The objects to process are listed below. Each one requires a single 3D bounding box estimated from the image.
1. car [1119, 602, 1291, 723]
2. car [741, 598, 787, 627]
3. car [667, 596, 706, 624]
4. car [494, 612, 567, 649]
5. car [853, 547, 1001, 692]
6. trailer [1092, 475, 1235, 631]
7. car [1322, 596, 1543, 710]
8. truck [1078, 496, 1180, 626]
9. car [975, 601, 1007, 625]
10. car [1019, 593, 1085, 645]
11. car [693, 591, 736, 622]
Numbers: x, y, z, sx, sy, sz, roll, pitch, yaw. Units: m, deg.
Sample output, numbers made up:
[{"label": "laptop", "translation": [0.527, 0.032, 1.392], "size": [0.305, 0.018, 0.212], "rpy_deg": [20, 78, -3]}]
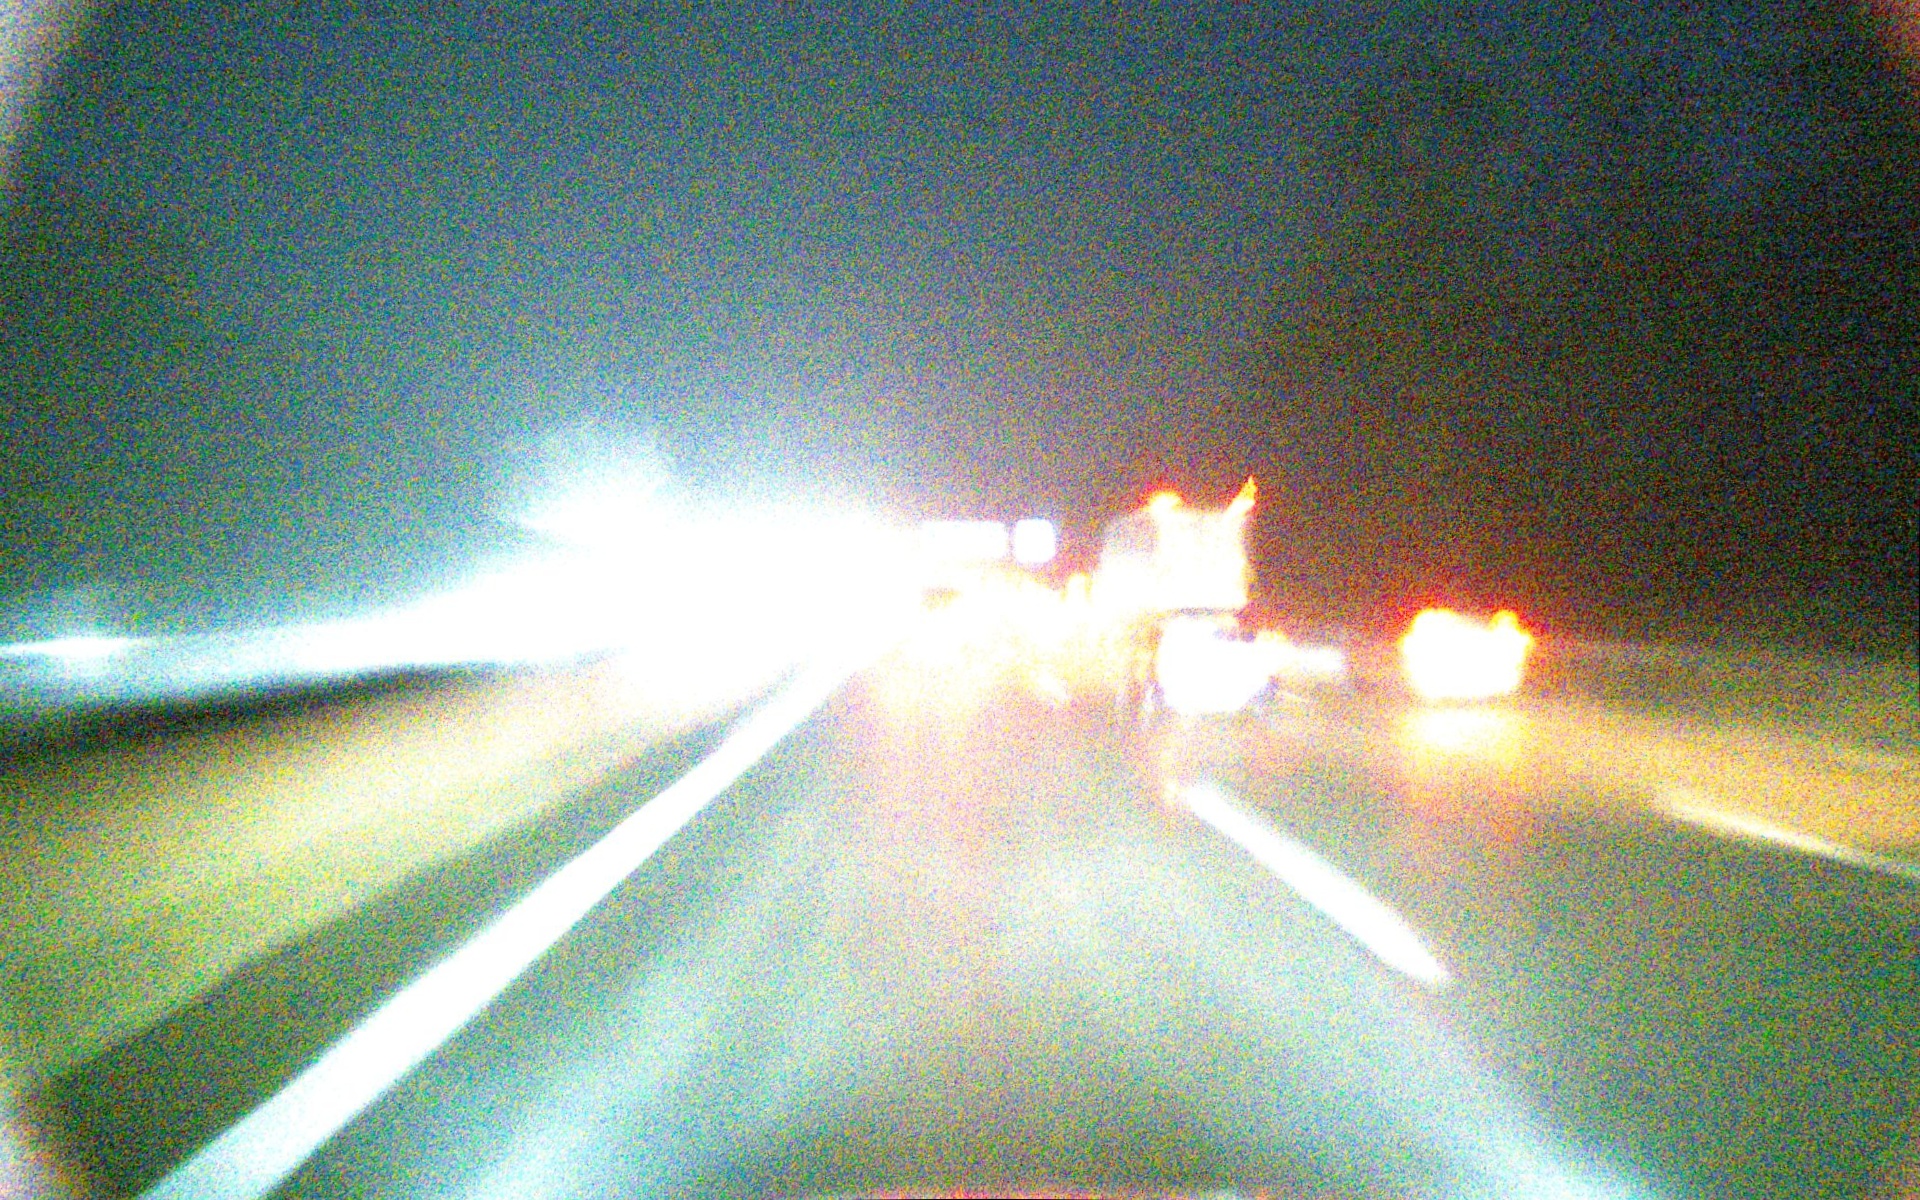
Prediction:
[{"label": "car", "translation": [3.146, 0.762, 21.883], "size": [1.580, 1.437, 3.790], "rpy_deg": [1, 0, -2]}, {"label": "car", "translation": [-9.742, 0.610, 82.400], "size": [1.923, 1.368, 4.287], "rpy_deg": [0, 1, -2]}, {"label": "car", "translation": [-17.185, 0.604, 104.060], "size": [1.834, 1.645, 4.500], "rpy_deg": [-2, 1, -2]}, {"label": "car", "translation": [-17.130, 1.196, 66.150], "size": [1.923, 1.368, 4.287], "rpy_deg": [0, 1, -2]}, {"label": "car", "translation": [-0.724, 0.327, 33.468], "size": [2.655, 2.578, 5.828], "rpy_deg": [-2, 1, -2]}, {"label": "trailer", "translation": [6.112, -1.312, 51.846], "size": [2.747, 4.286, 12.094], "rpy_deg": [1, 0, -1]}, {"label": "car", "translation": [7.200, 0.743, 25.769], "size": [1.856, 1.512, 4.960], "rpy_deg": [1, 1, -2]}, {"label": "truck", "translation": [5.947, -1.311, 59.314], "size": [2.747, 4.341, 7.446], "rpy_deg": [1, 0, -1]}, {"label": "car", "translation": [2.135, 0.889, 114.491], "size": [2.093, 1.646, 4.000], "rpy_deg": [1, 0, 0]}, {"label": "car", "translation": [2.980, 0.602, 54.407], "size": [1.846, 1.616, 3.999], "rpy_deg": [1, 0, -1]}, {"label": "car", "translation": [-13.426, 0.355, 90.719], "size": [1.616, 1.609, 5.127], "rpy_deg": [0, 1, -1]}]
